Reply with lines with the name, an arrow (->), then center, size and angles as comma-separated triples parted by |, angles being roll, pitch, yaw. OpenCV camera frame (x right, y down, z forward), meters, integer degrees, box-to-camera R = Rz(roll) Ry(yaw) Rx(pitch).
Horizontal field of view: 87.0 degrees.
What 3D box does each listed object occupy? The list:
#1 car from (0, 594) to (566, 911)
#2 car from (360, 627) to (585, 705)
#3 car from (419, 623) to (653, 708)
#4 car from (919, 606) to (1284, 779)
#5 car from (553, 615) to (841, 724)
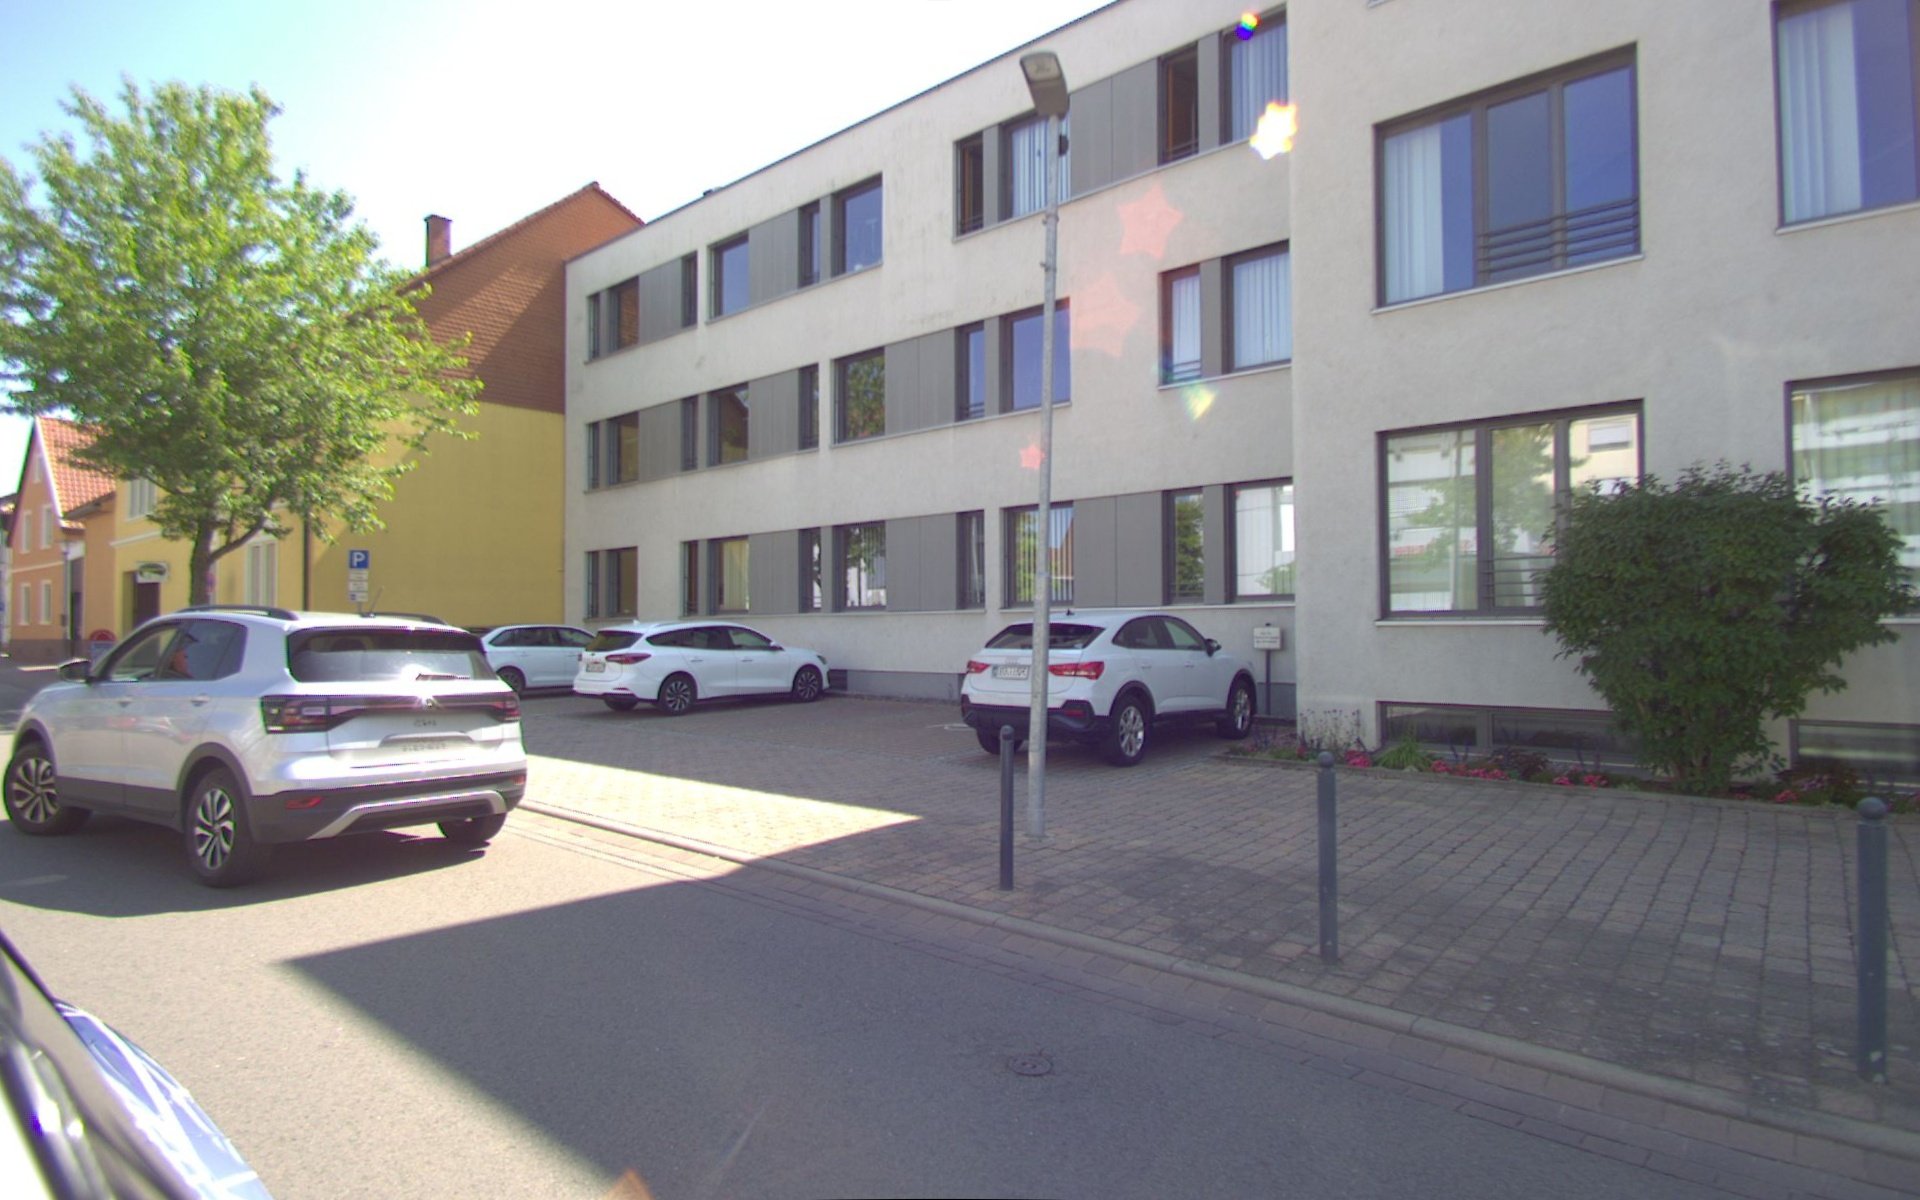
car -> -4.767, 0.835, 6.929 | 3.986, 1.585, 1.837 | -2, -3, 32
car -> -10.460, 1.361, 21.954 | 1.969, 1.442, 3.950 | -3, -2, 37
car -> -8.399, 1.242, 20.278 | 1.806, 1.462, 3.947 | -3, -2, 40
car -> 1.813, 0.878, 11.643 | 2.146, 1.566, 4.462 | -2, -1, 39
car -> -4.327, 1.058, 17.202 | 1.934, 1.566, 4.457 | -1, -1, 40
